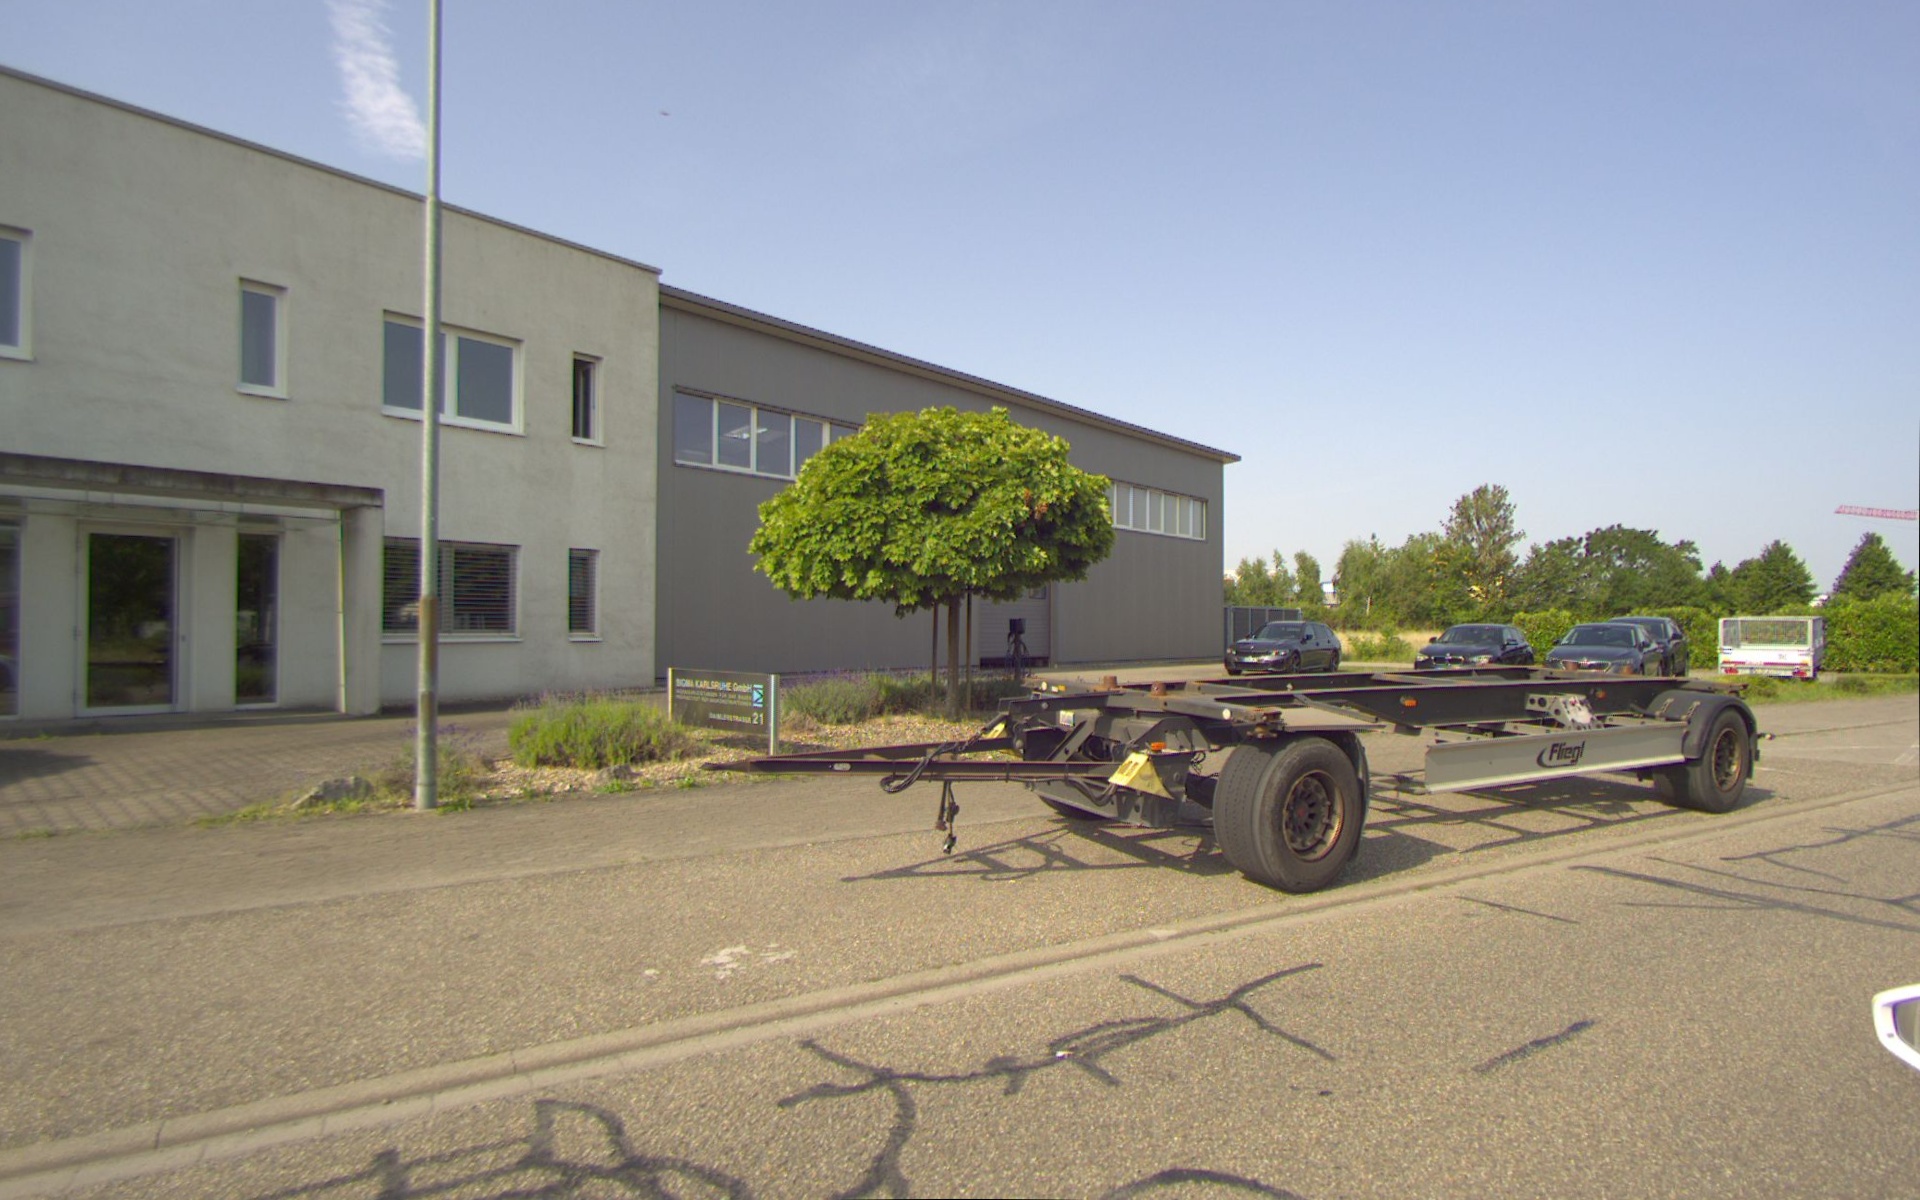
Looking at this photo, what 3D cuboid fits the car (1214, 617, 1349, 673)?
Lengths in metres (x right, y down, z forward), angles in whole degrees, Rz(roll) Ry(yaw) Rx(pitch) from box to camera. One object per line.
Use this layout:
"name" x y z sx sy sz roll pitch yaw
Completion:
"car" 8.734 1.160 27.104 1.966 1.342 4.330 0 -1 40

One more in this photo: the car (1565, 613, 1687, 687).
"car" 17.108 1.220 25.714 1.967 1.680 4.397 0 -1 42

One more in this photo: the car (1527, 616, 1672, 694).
"car" 14.068 1.129 21.990 1.954 1.496 4.397 0 -1 42

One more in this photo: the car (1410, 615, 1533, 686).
"car" 12.209 1.145 23.822 1.659 1.496 4.330 0 -1 40

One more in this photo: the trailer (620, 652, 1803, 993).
"trailer" 2.672 1.070 7.531 9.617 1.089 2.533 1 0 -30

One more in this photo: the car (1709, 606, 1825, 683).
"car" 19.057 1.005 23.664 1.813 1.593 3.795 2 0 43
